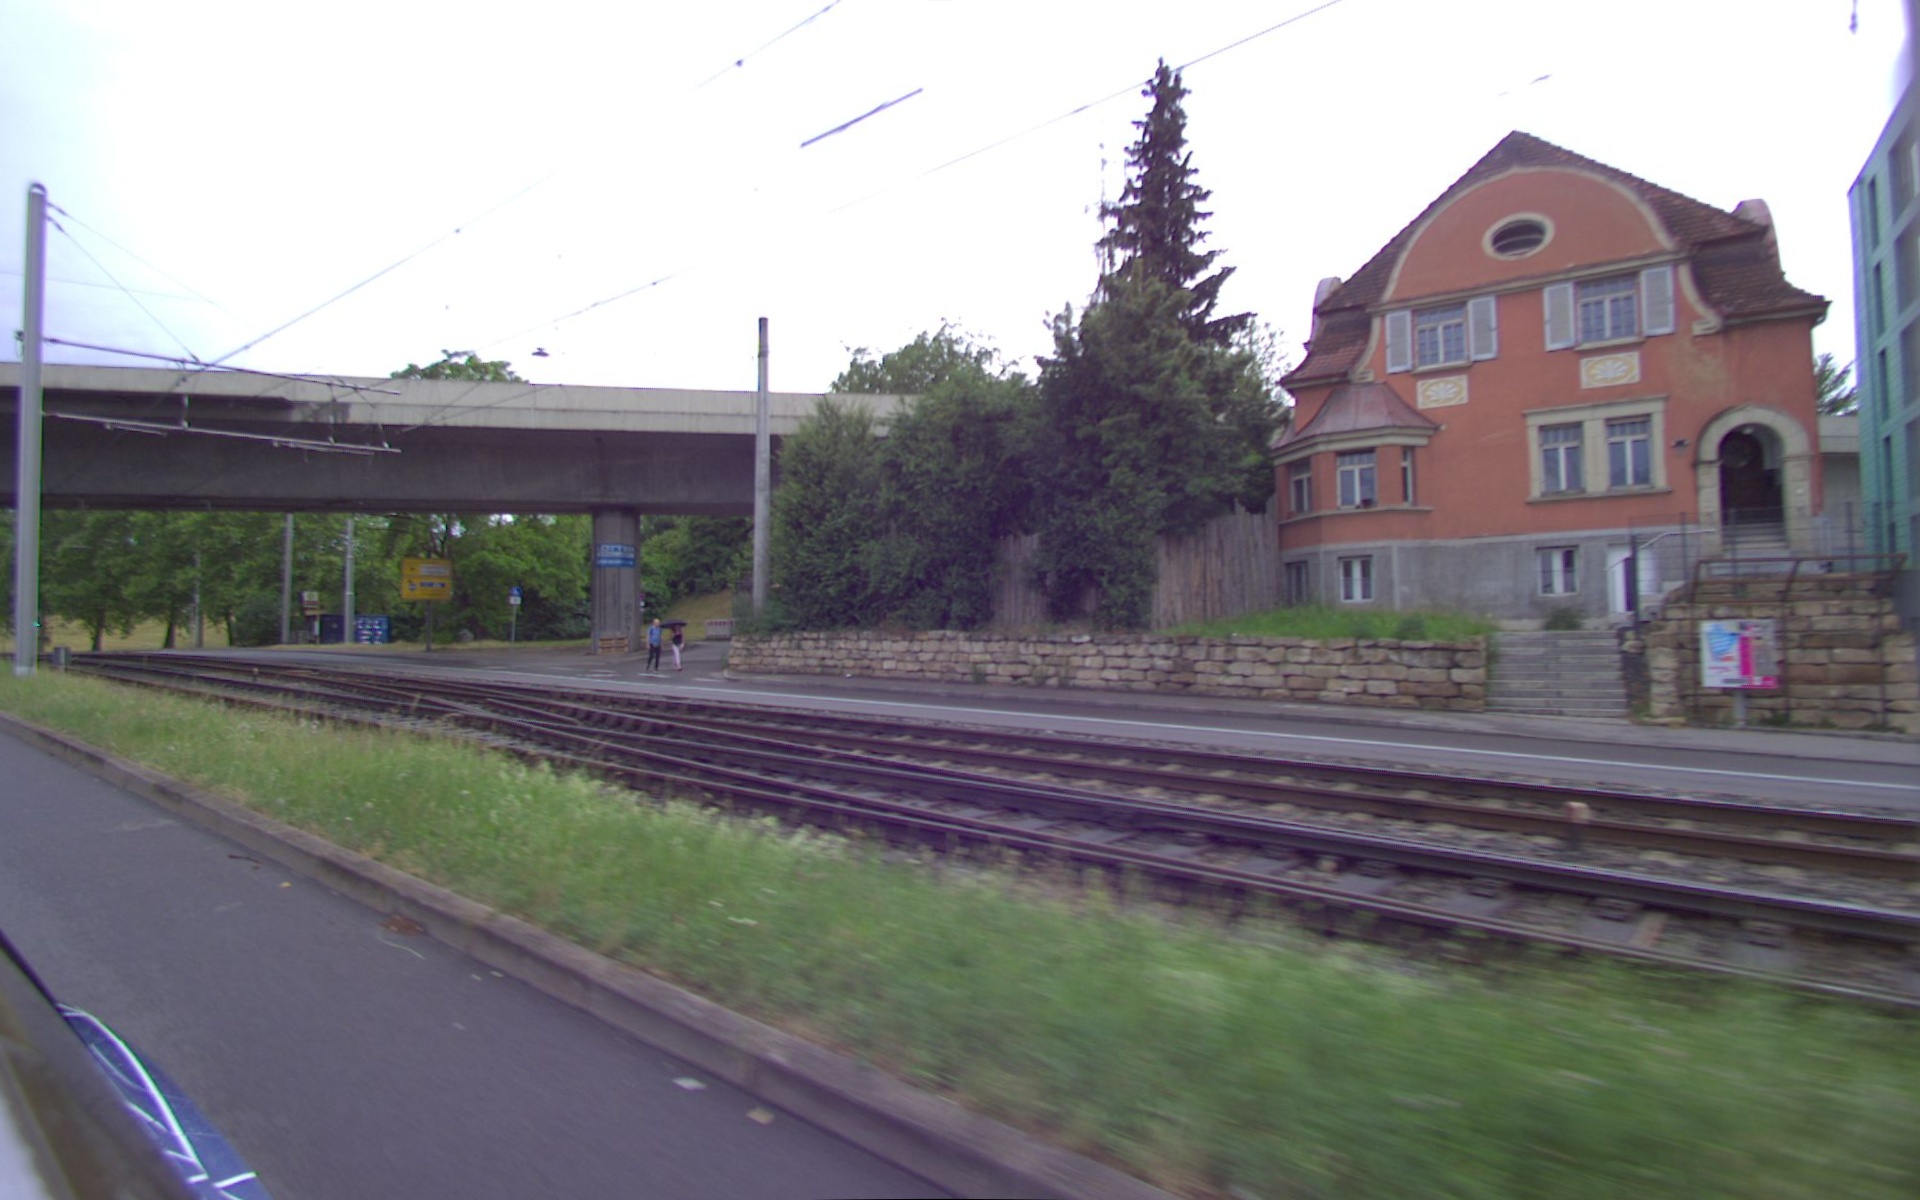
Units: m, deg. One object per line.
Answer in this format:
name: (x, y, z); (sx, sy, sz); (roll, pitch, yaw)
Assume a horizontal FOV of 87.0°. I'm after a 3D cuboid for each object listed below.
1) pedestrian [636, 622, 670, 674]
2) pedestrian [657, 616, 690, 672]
pedestrian: (-10.140, 1.586, 33.421); (0.888, 1.683, 0.685); (-3, -2, 44)
pedestrian: (-9.720, 1.491, 34.282); (0.866, 1.845, 0.686); (-3, -2, 42)
